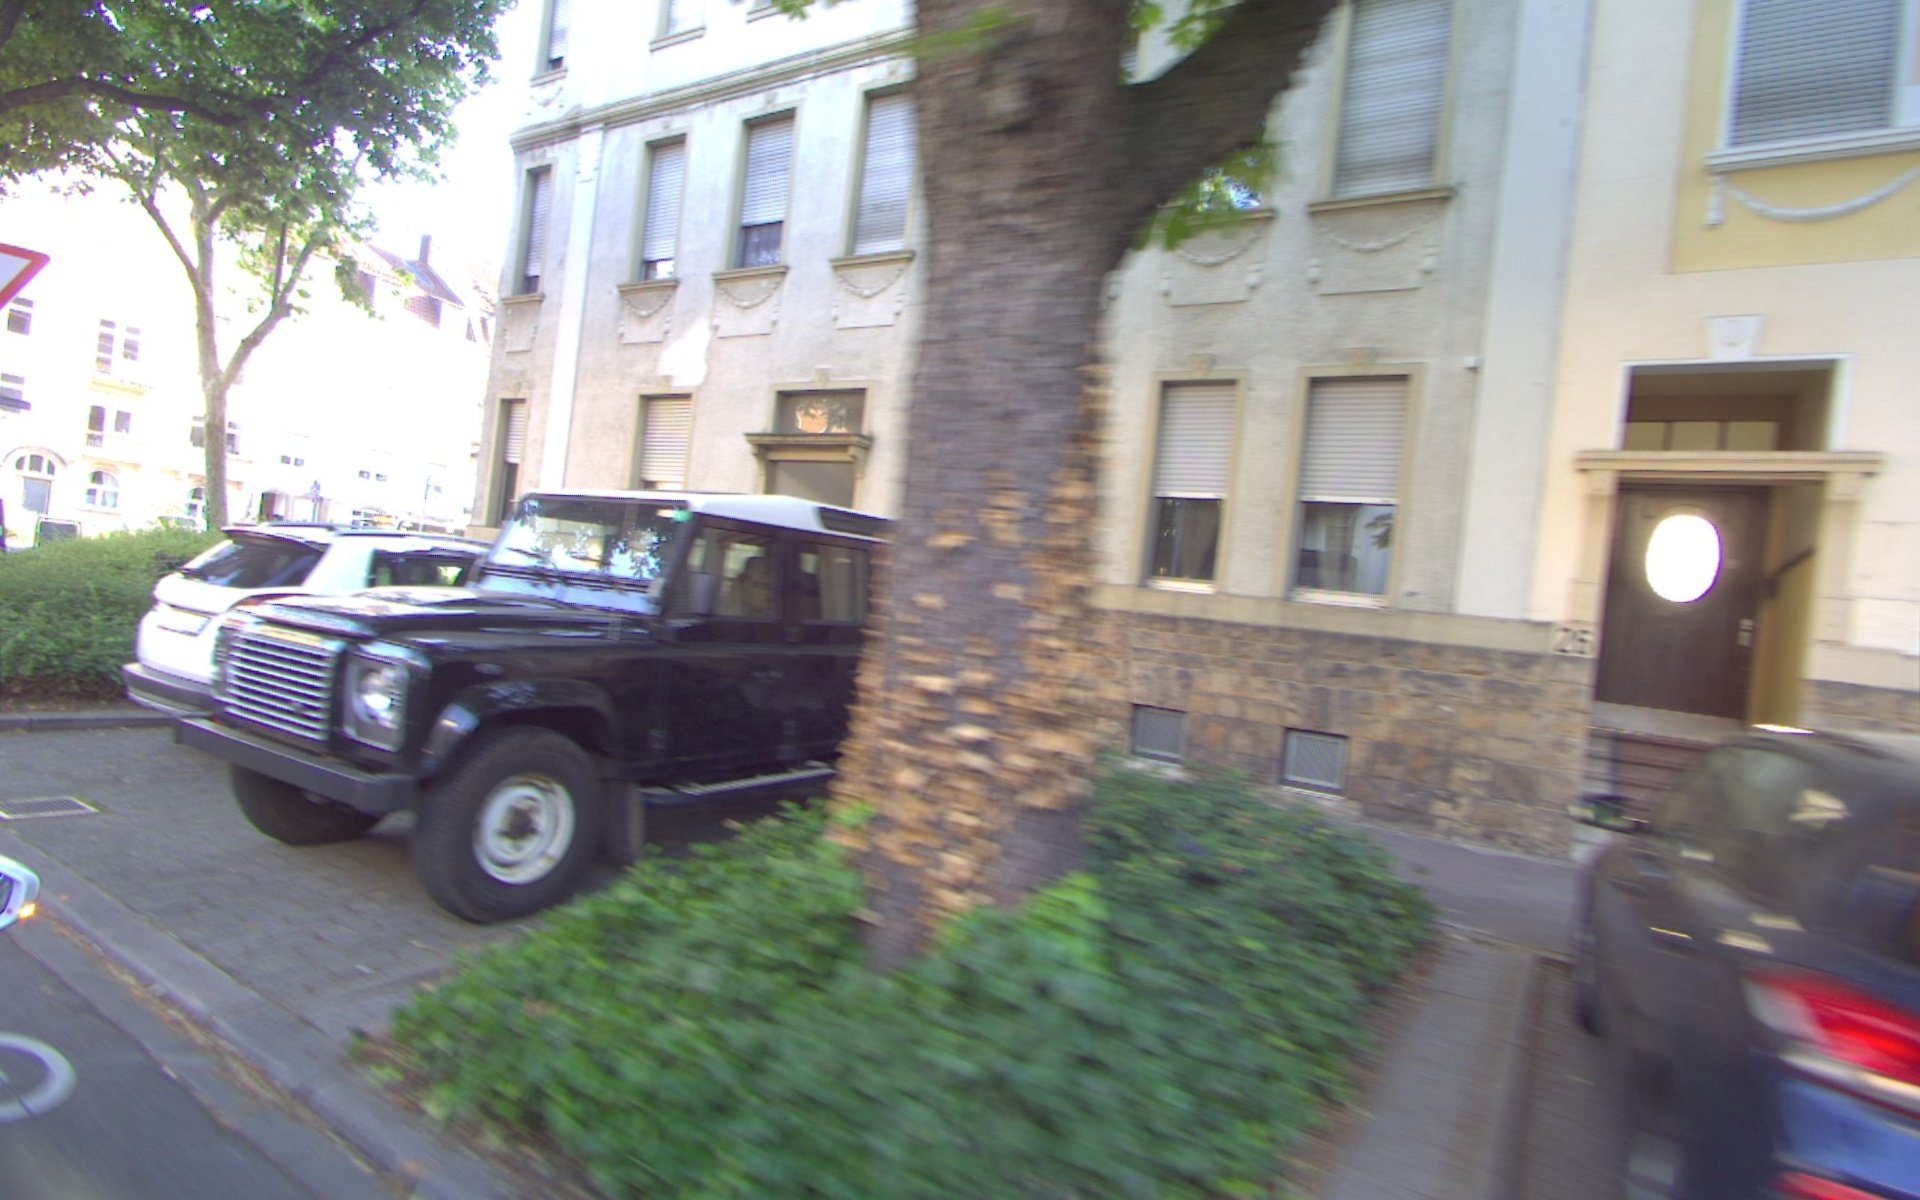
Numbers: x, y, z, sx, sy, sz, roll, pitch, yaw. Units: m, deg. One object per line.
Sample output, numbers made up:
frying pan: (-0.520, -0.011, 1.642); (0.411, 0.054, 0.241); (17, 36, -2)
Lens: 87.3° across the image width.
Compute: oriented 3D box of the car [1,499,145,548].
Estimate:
car: (-29.975, -2.563, 34.090); (1.357, 1.081, 3.369); (7, -1, 32)

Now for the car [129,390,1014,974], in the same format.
car: (-1.588, 0.306, 5.775); (1.763, 1.981, 4.495); (7, 1, 30)

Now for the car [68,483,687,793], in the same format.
car: (-3.927, 0.260, 7.396); (1.681, 1.606, 3.488); (7, 0, 27)

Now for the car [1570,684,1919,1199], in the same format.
car: (2.719, 1.088, 2.735); (1.601, 1.440, 3.753); (6, 0, 30)

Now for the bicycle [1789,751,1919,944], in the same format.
bicycle: (6.495, 1.681, 6.440); (1.676, 1.090, 0.500); (7, 2, 33)
